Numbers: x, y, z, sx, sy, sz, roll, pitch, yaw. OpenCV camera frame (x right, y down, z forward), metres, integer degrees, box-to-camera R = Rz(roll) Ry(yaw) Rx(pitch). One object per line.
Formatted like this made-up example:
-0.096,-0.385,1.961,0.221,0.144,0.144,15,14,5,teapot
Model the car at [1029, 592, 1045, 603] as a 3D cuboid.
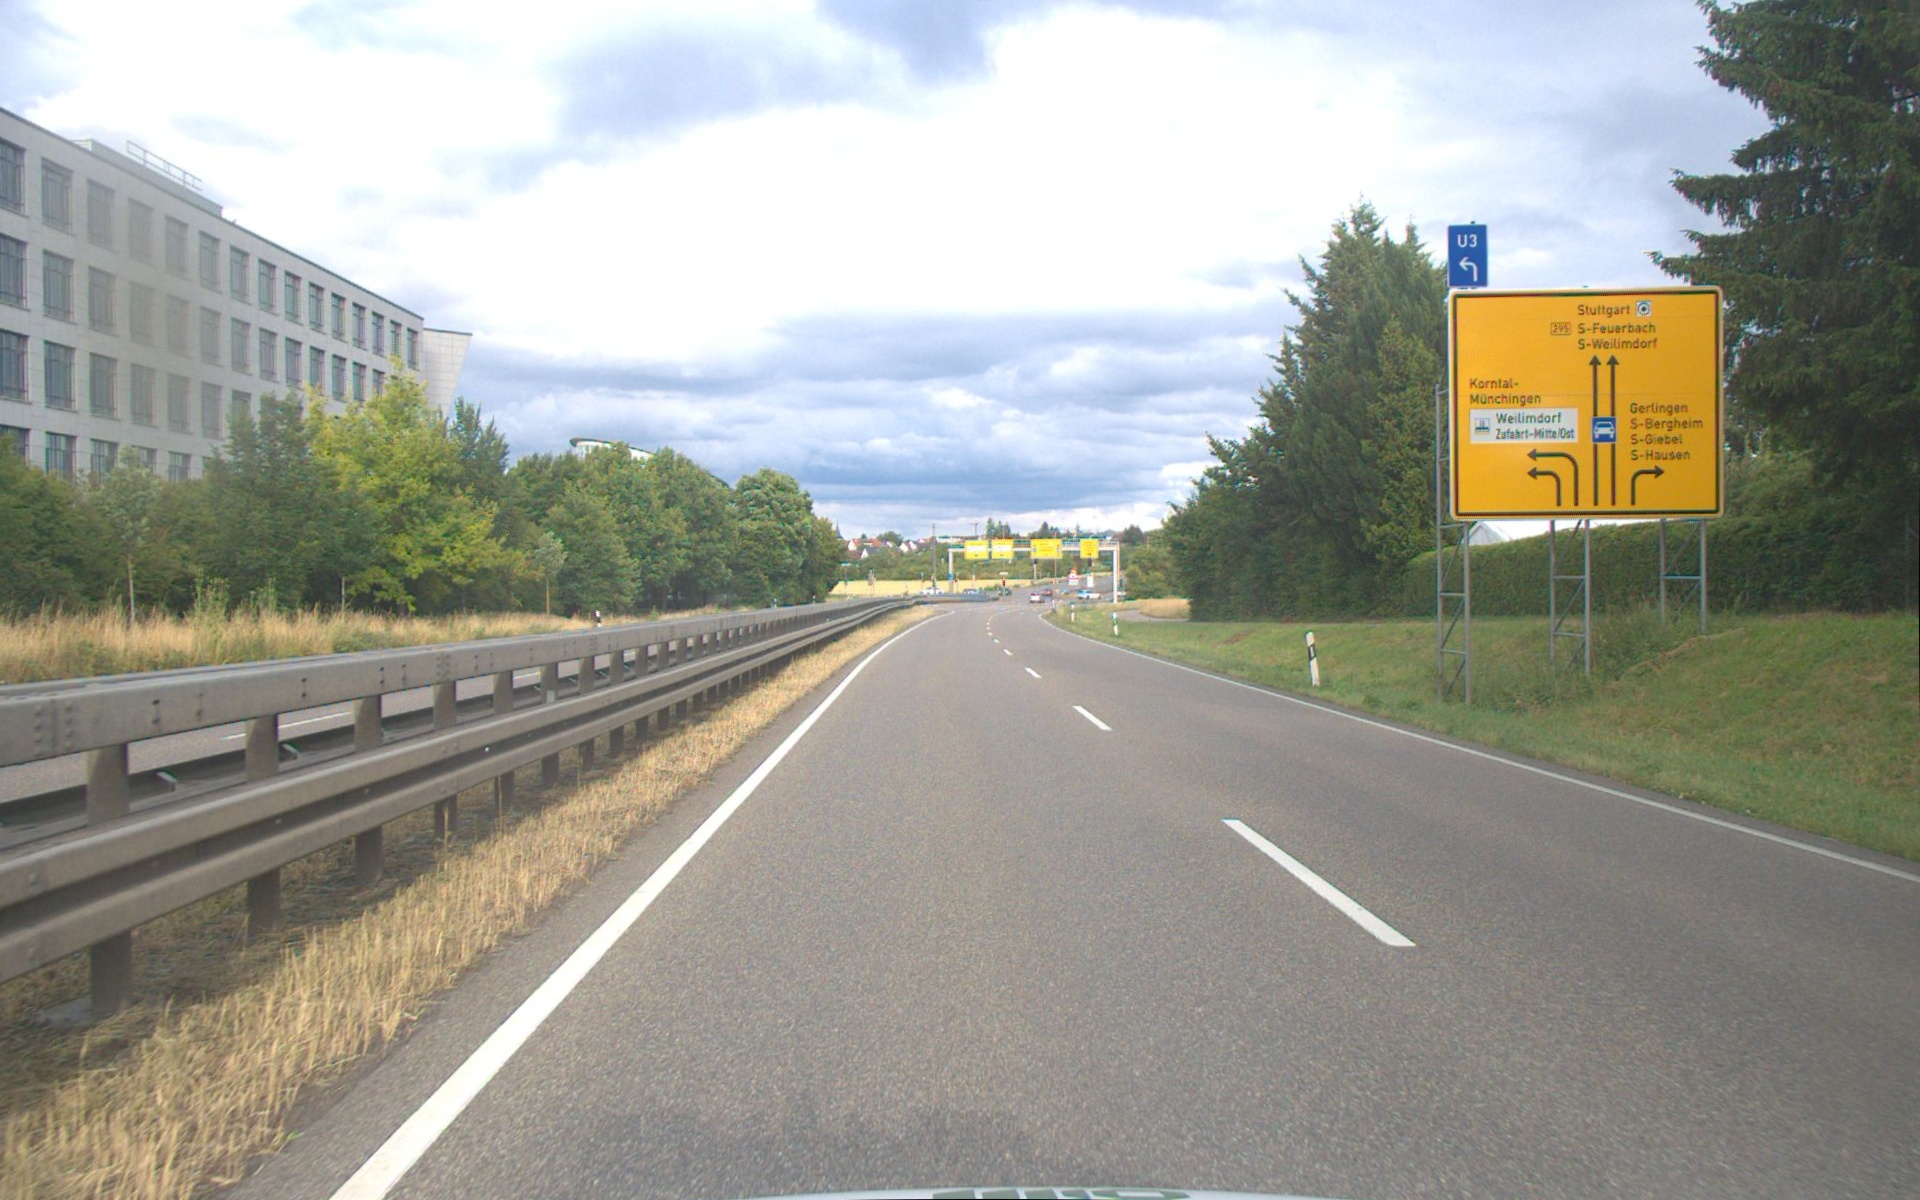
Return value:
11.234,-0.433,240.791,1.759,1.583,4.003,0,0,13,car
